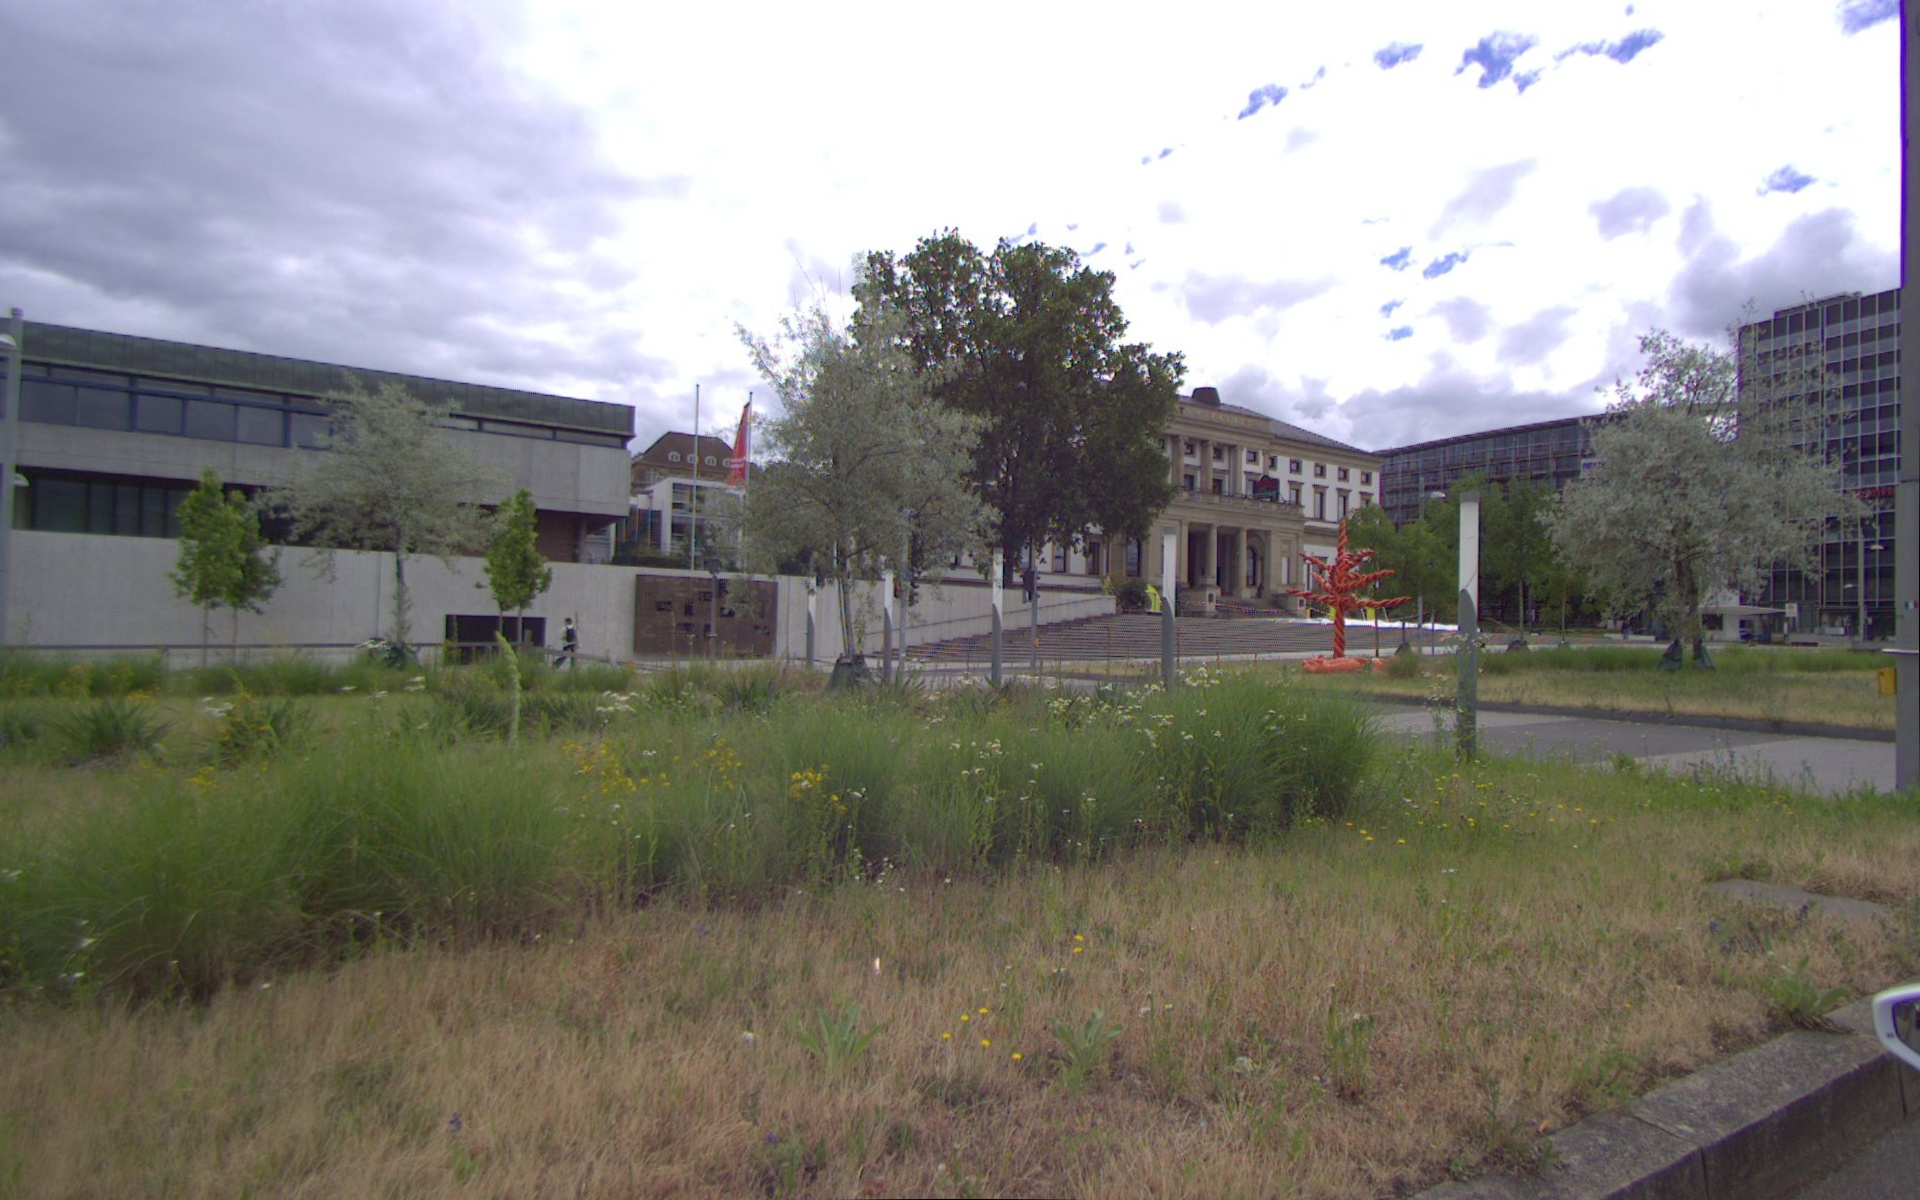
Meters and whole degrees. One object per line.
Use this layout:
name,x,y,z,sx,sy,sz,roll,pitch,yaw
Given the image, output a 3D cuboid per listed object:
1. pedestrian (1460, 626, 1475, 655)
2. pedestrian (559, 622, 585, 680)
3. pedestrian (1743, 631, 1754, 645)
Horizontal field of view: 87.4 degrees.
pedestrian,29.849,2.370,59.072,0.643,1.671,0.521,1,0,-31
pedestrian,-11.945,1.566,30.938,0.655,1.757,0.537,1,0,-30
pedestrian,61.276,2.974,78.088,0.553,1.095,0.473,1,0,-29
